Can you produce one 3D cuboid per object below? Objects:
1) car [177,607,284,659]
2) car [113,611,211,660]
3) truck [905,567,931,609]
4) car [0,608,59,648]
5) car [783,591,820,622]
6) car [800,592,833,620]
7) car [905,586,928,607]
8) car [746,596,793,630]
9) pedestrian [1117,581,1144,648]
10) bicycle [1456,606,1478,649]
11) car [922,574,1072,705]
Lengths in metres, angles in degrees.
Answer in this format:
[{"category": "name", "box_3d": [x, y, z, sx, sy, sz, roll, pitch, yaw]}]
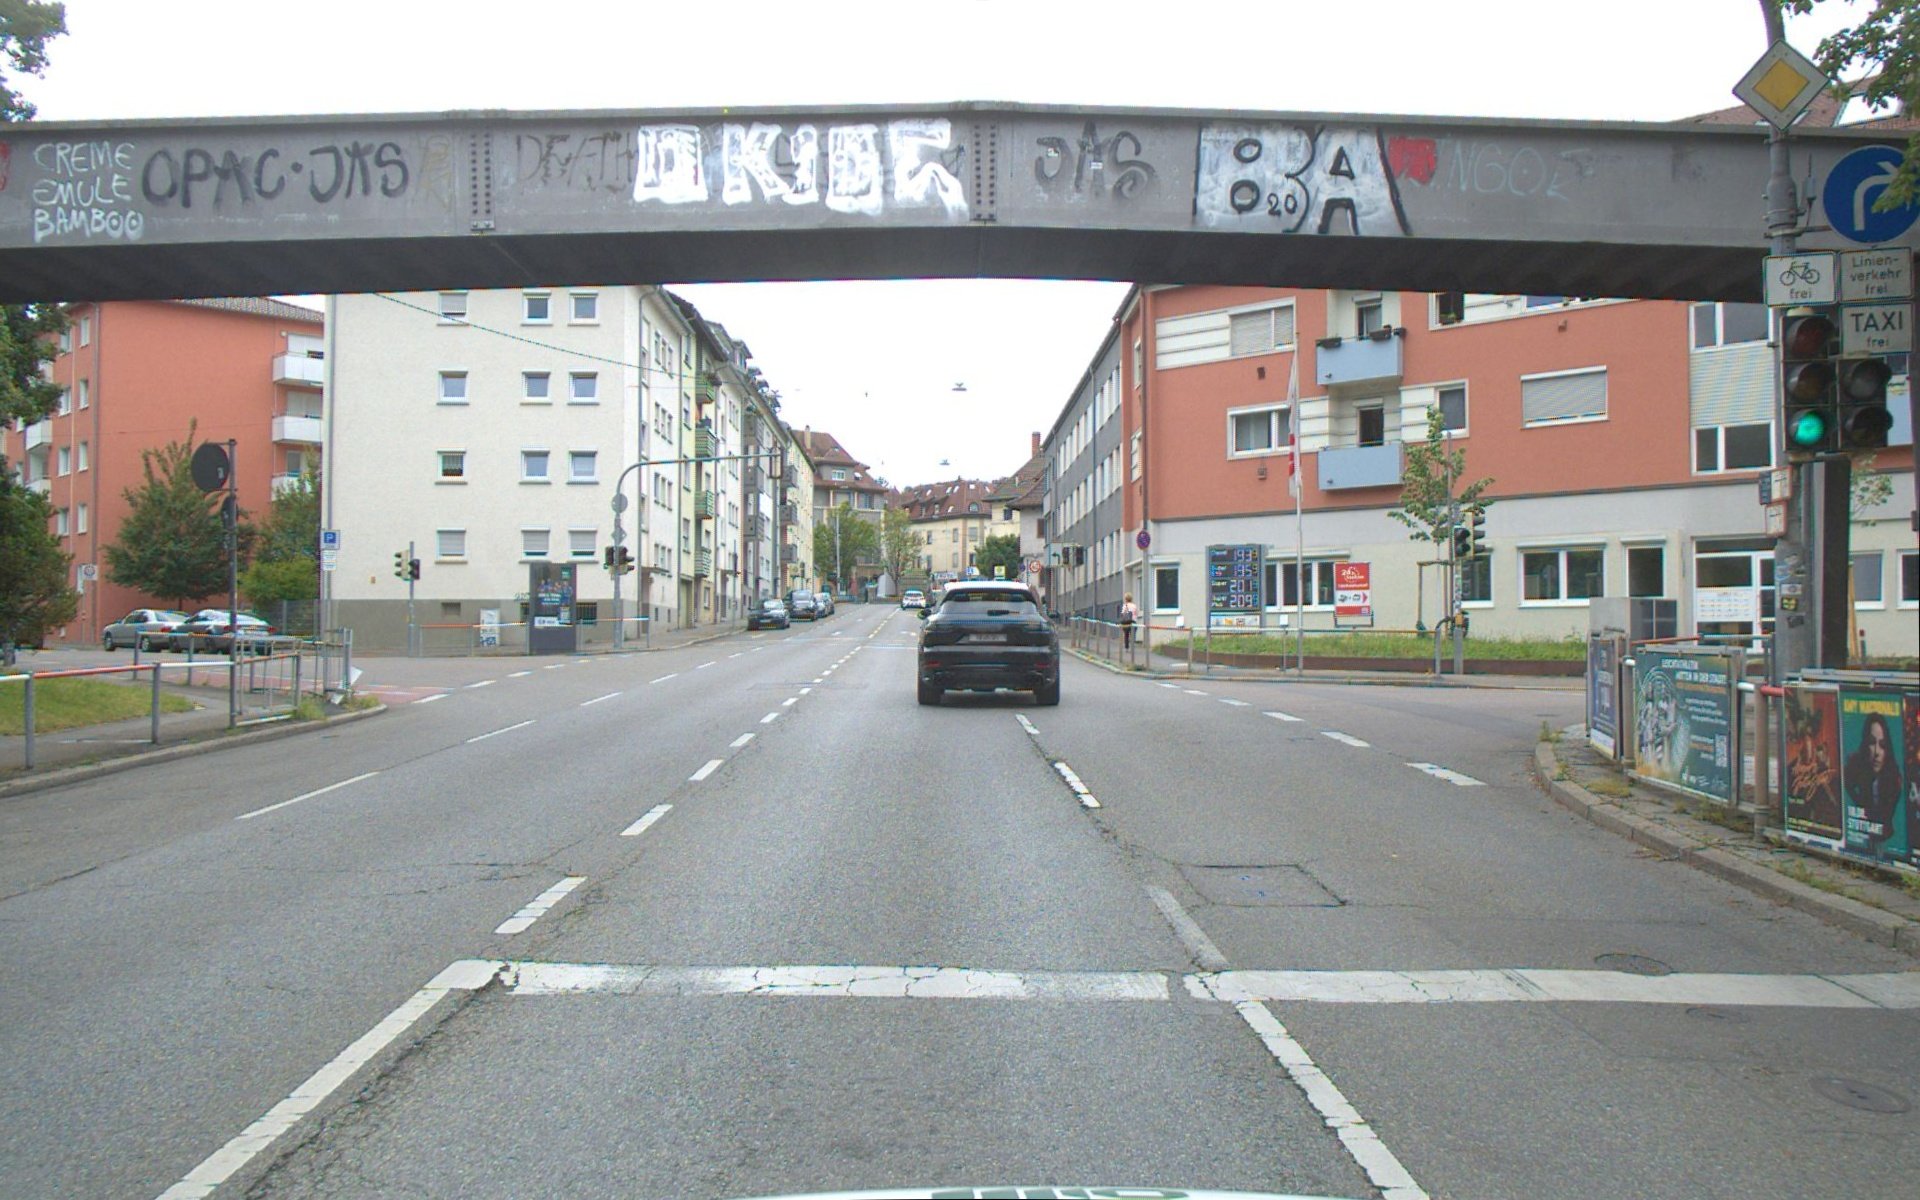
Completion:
[{"category": "car", "box_3d": [-22.848, 1.000, 51.748, 1.794, 1.536, 3.934, -1, 0, -44]}, {"category": "car", "box_3d": [-26.552, 1.139, 55.009, 1.794, 1.536, 3.934, -1, 0, -44]}, {"category": "truck", "box_3d": [-3.679, -1.026, 144.961, 2.221, 3.484, 9.875, 0, 0, -2]}, {"category": "car", "box_3d": [-37.526, 1.103, 65.993, 1.794, 1.536, 3.934, -1, 0, -44]}, {"category": "car", "box_3d": [-8.908, 0.355, 93.224, 1.729, 1.679, 3.999, 0, 0, -1]}, {"category": "car", "box_3d": [-8.858, 0.345, 102.167, 1.729, 1.679, 3.999, 0, 0, -1]}, {"category": "car", "box_3d": [-3.318, -0.290, 126.588, 1.729, 1.534, 3.999, 0, 0, -1]}, {"category": "car", "box_3d": [-8.808, 0.587, 76.611, 1.729, 1.534, 3.999, 0, 0, -1]}, {"category": "pedestrian", "box_3d": [4.637, 0.390, 45.056, 0.640, 1.823, 0.714, 0, 0, -4]}, {"category": "bicycle", "box_3d": [11.336, 0.603, 36.991, 0.333, 0.919, 1.743, 0, 0, 22]}, {"category": "car", "box_3d": [0.447, 0.488, 23.603, 1.953, 1.691, 3.999, 0, 1, -1]}]
